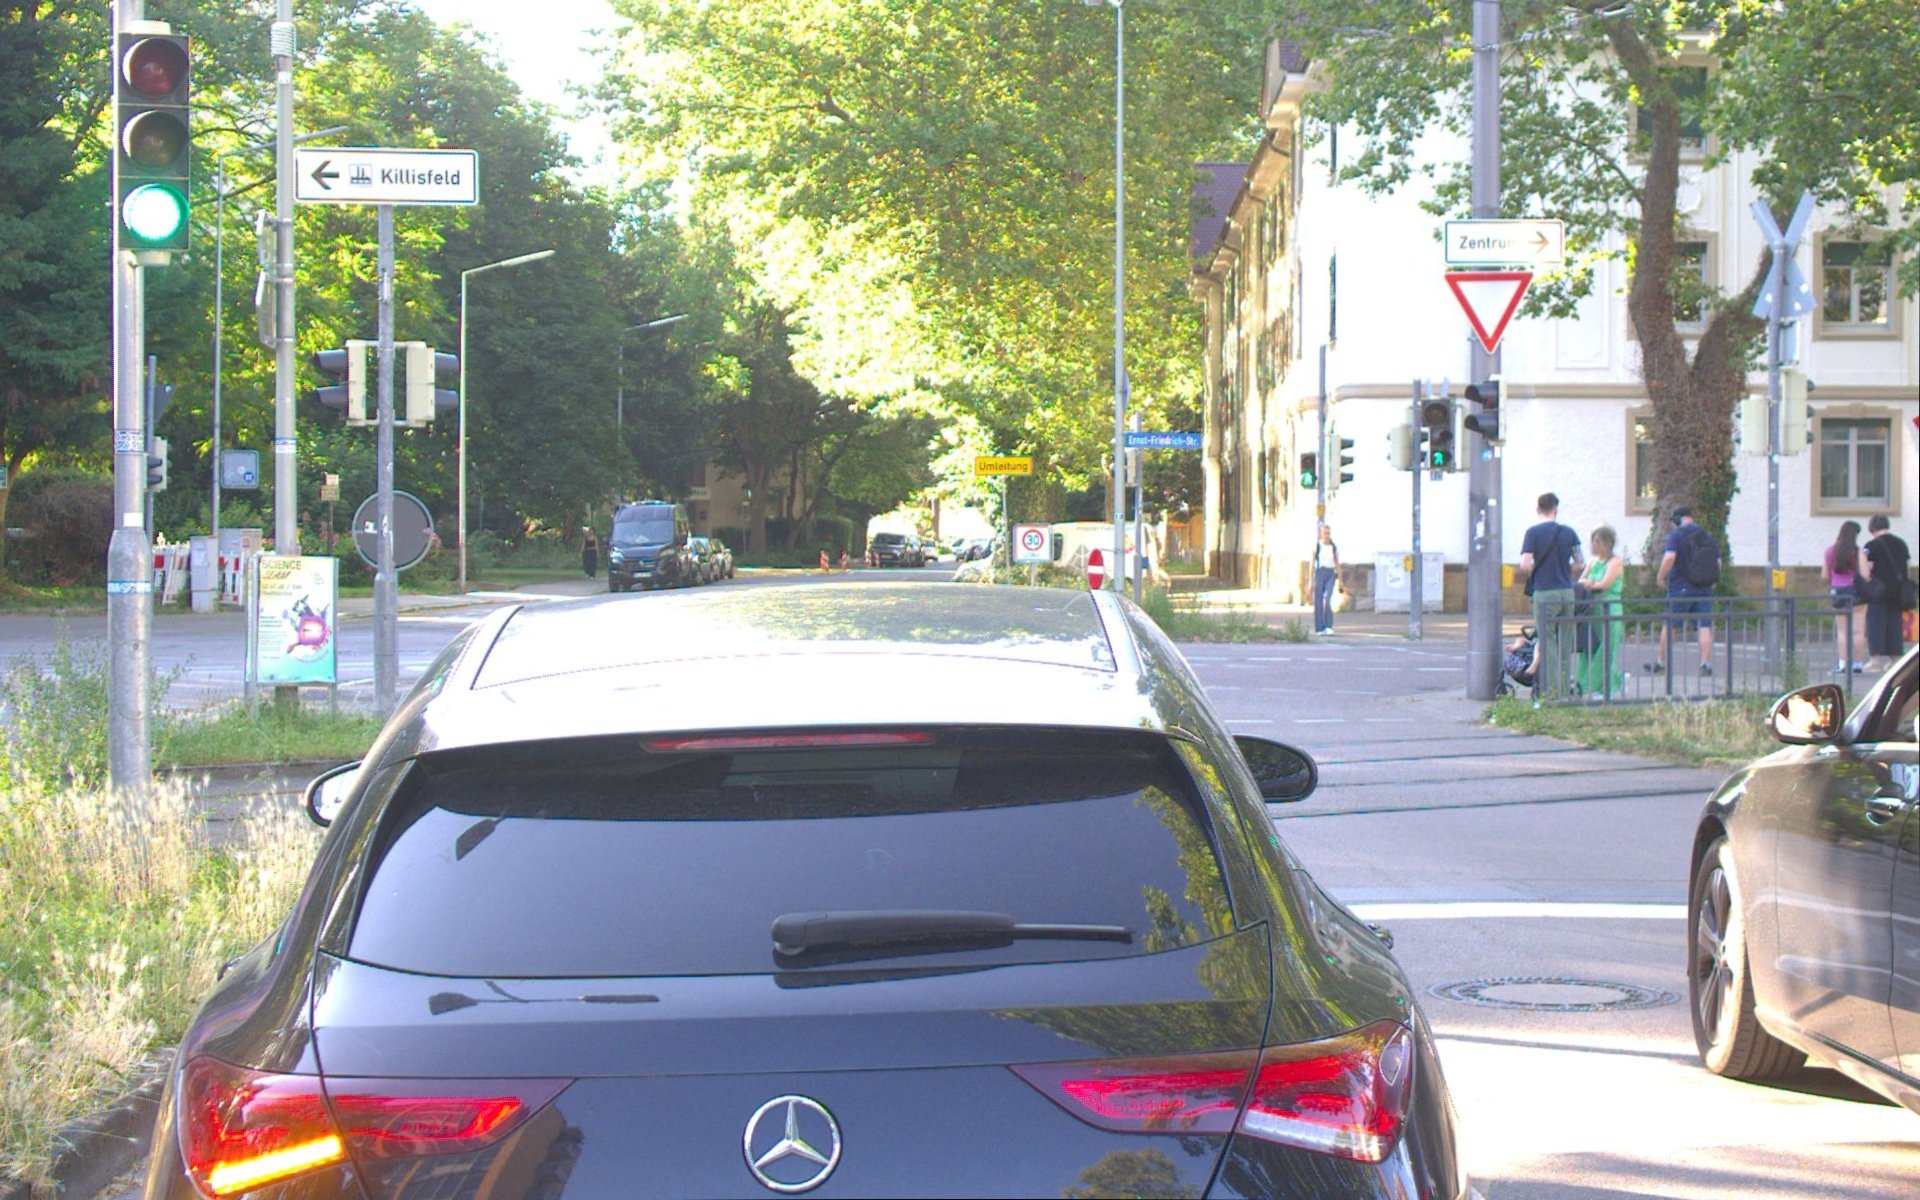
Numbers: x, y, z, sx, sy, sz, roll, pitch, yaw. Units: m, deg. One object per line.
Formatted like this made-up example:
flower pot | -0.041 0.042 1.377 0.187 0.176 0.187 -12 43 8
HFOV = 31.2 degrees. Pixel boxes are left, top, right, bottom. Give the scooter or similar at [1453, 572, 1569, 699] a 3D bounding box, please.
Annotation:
scooter or similar | 4.915 0.311 30.714 0.828 1.101 0.809 1 0 -6

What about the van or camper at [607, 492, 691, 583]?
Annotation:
van or camper | -8.999 -1.793 99.739 1.993 2.532 4.651 1 1 0

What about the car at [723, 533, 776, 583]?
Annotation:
car | -7.735 -1.544 126.409 1.733 1.759 3.971 1 1 -1

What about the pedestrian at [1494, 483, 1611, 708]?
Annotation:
pedestrian | 5.130 -0.040 29.769 0.705 1.911 0.685 1 0 -26

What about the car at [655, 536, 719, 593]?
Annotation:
car | -8.697 -1.144 109.760 1.733 1.759 4.342 1 1 -1

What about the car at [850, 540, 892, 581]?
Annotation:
car | -3.885 -1.730 150.384 1.733 1.759 4.019 1 1 -1

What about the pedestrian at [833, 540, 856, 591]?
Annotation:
pedestrian | -4.373 -1.309 130.028 0.705 1.911 0.839 1 0 -10

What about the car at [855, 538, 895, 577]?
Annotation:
car | -3.908 -1.952 158.467 1.733 1.759 4.019 1 1 -1

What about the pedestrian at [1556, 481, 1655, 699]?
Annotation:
pedestrian | 5.755 -0.093 30.681 0.682 1.911 0.707 1 0 -4

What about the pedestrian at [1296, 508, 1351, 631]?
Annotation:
pedestrian | 5.718 -0.477 54.138 0.705 1.911 0.839 1 0 -4

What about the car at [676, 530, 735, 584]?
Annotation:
car | -8.613 -1.460 116.679 1.733 1.759 4.085 1 1 -1

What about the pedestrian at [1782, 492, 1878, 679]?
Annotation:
pedestrian | 9.021 -0.149 35.671 0.705 1.911 0.839 1 0 -4

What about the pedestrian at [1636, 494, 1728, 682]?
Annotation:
pedestrian | 7.459 -0.122 35.539 0.705 1.911 0.839 1 0 -4

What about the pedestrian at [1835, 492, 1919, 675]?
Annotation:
pedestrian | 9.831 -0.177 36.671 0.705 1.911 0.839 1 0 -4

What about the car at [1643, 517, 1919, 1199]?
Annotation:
car | 2.865 0.644 7.290 1.889 1.485 4.382 1 3 -1

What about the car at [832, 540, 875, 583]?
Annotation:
car | -4.488 -1.630 145.564 1.733 1.759 4.019 1 1 -1

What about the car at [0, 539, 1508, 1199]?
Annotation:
car | -0.351 0.706 5.662 1.889 1.445 4.001 1 3 1
